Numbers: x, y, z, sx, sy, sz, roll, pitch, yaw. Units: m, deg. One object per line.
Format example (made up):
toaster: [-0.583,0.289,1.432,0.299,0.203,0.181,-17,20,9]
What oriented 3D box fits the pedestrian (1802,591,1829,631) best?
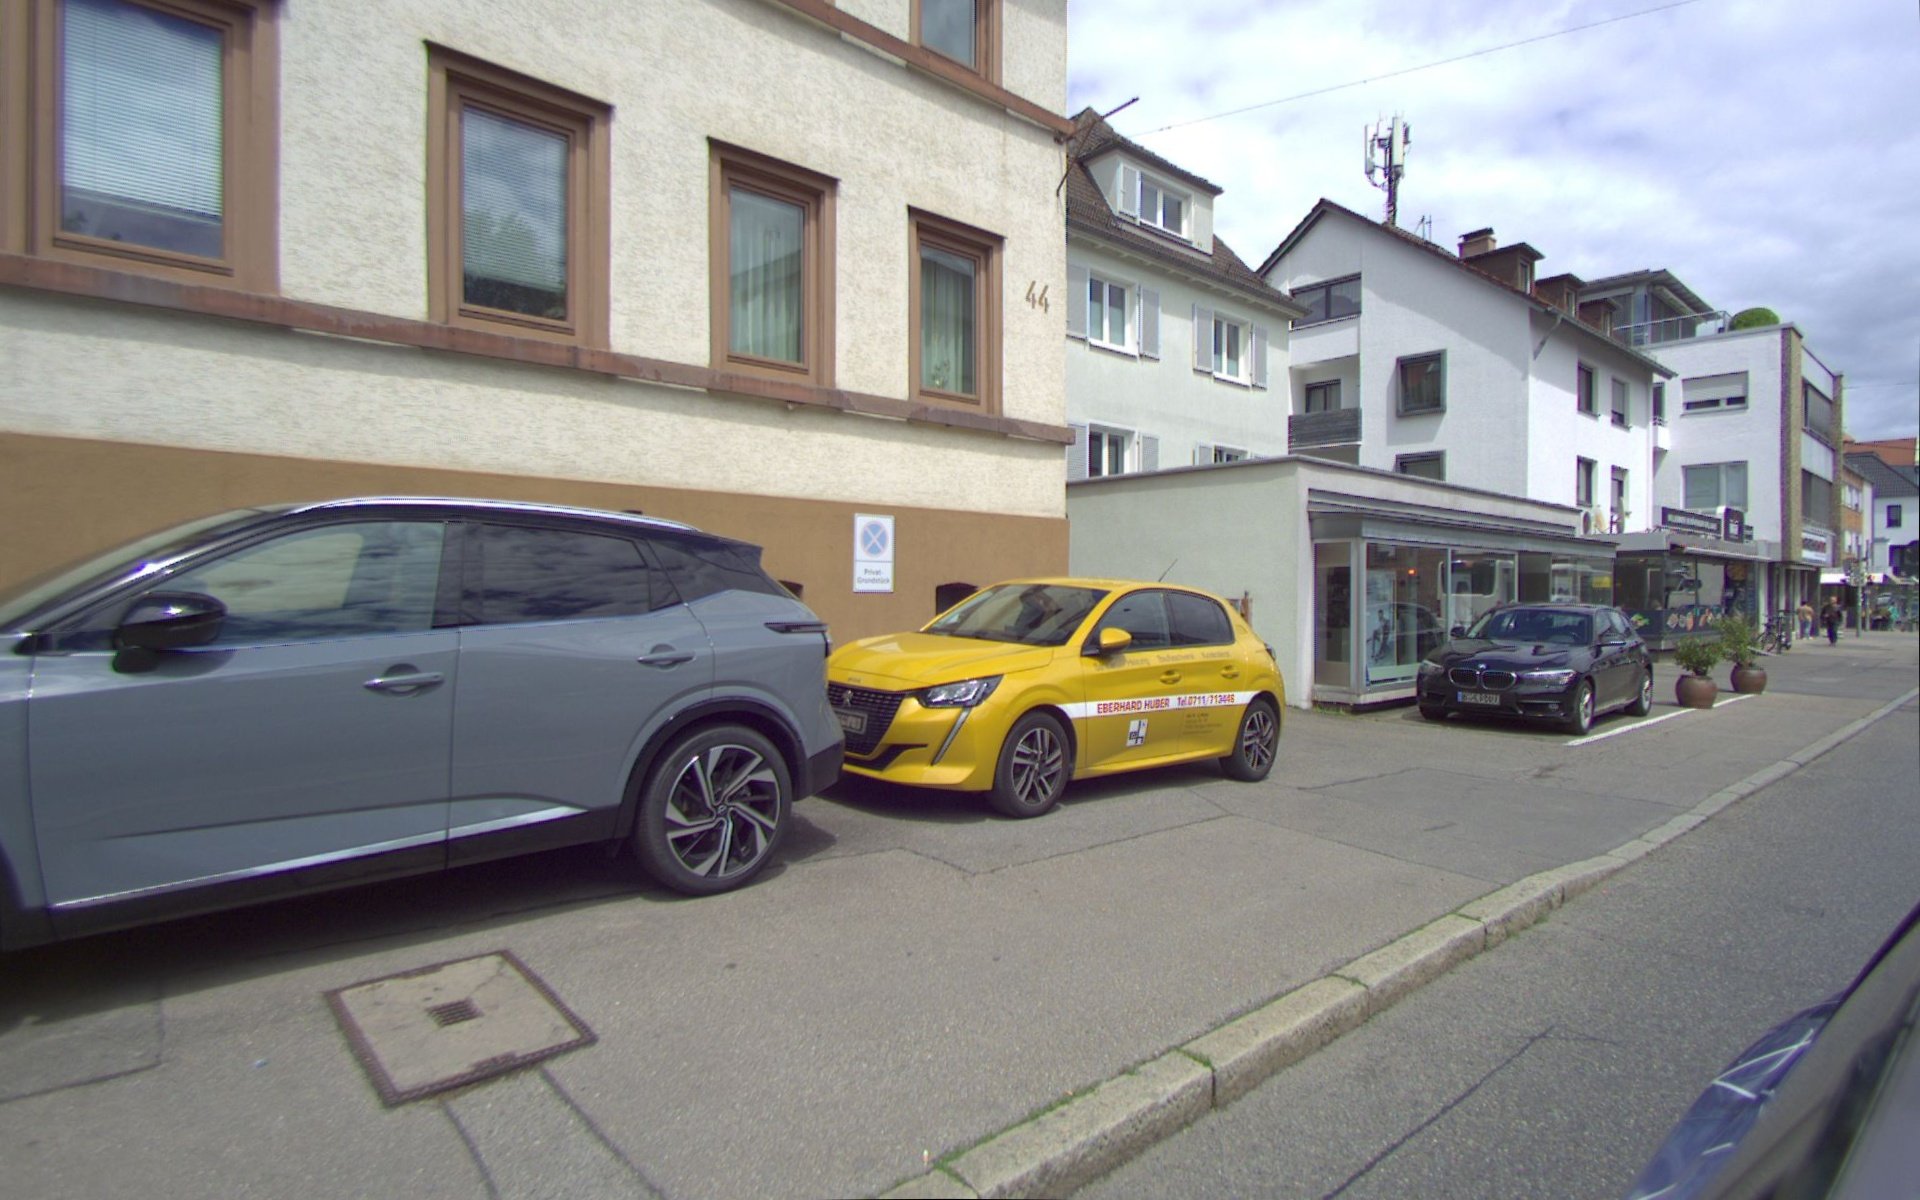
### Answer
pedestrian: [33.173,0.429,39.246,0.707,1.518,0.680,0,0,-42]

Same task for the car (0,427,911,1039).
car: [-2.528,0.328,3.979,4.508,1.632,1.863,0,2,-43]

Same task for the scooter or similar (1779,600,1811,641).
scooter or similar: [26.940,0.642,32.652,0.686,1.283,1.170,1,1,36]

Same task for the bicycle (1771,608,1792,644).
bicycle: [25.005,0.774,30.808,0.474,1.041,1.613,1,1,39]

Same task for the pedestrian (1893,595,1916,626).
pedestrian: [48.768,0.535,52.254,0.804,1.545,0.779,1,1,-39]

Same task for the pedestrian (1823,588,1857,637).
pedestrian: [30.782,0.430,35.395,0.793,1.691,0.796,0,1,-42]

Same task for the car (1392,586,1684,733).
car: [7.305,0.597,12.579,4.460,1.465,1.970,0,1,-44]

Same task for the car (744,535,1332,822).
car: [0.795,0.460,7.328,4.234,1.466,1.879,3,-1,-44]
